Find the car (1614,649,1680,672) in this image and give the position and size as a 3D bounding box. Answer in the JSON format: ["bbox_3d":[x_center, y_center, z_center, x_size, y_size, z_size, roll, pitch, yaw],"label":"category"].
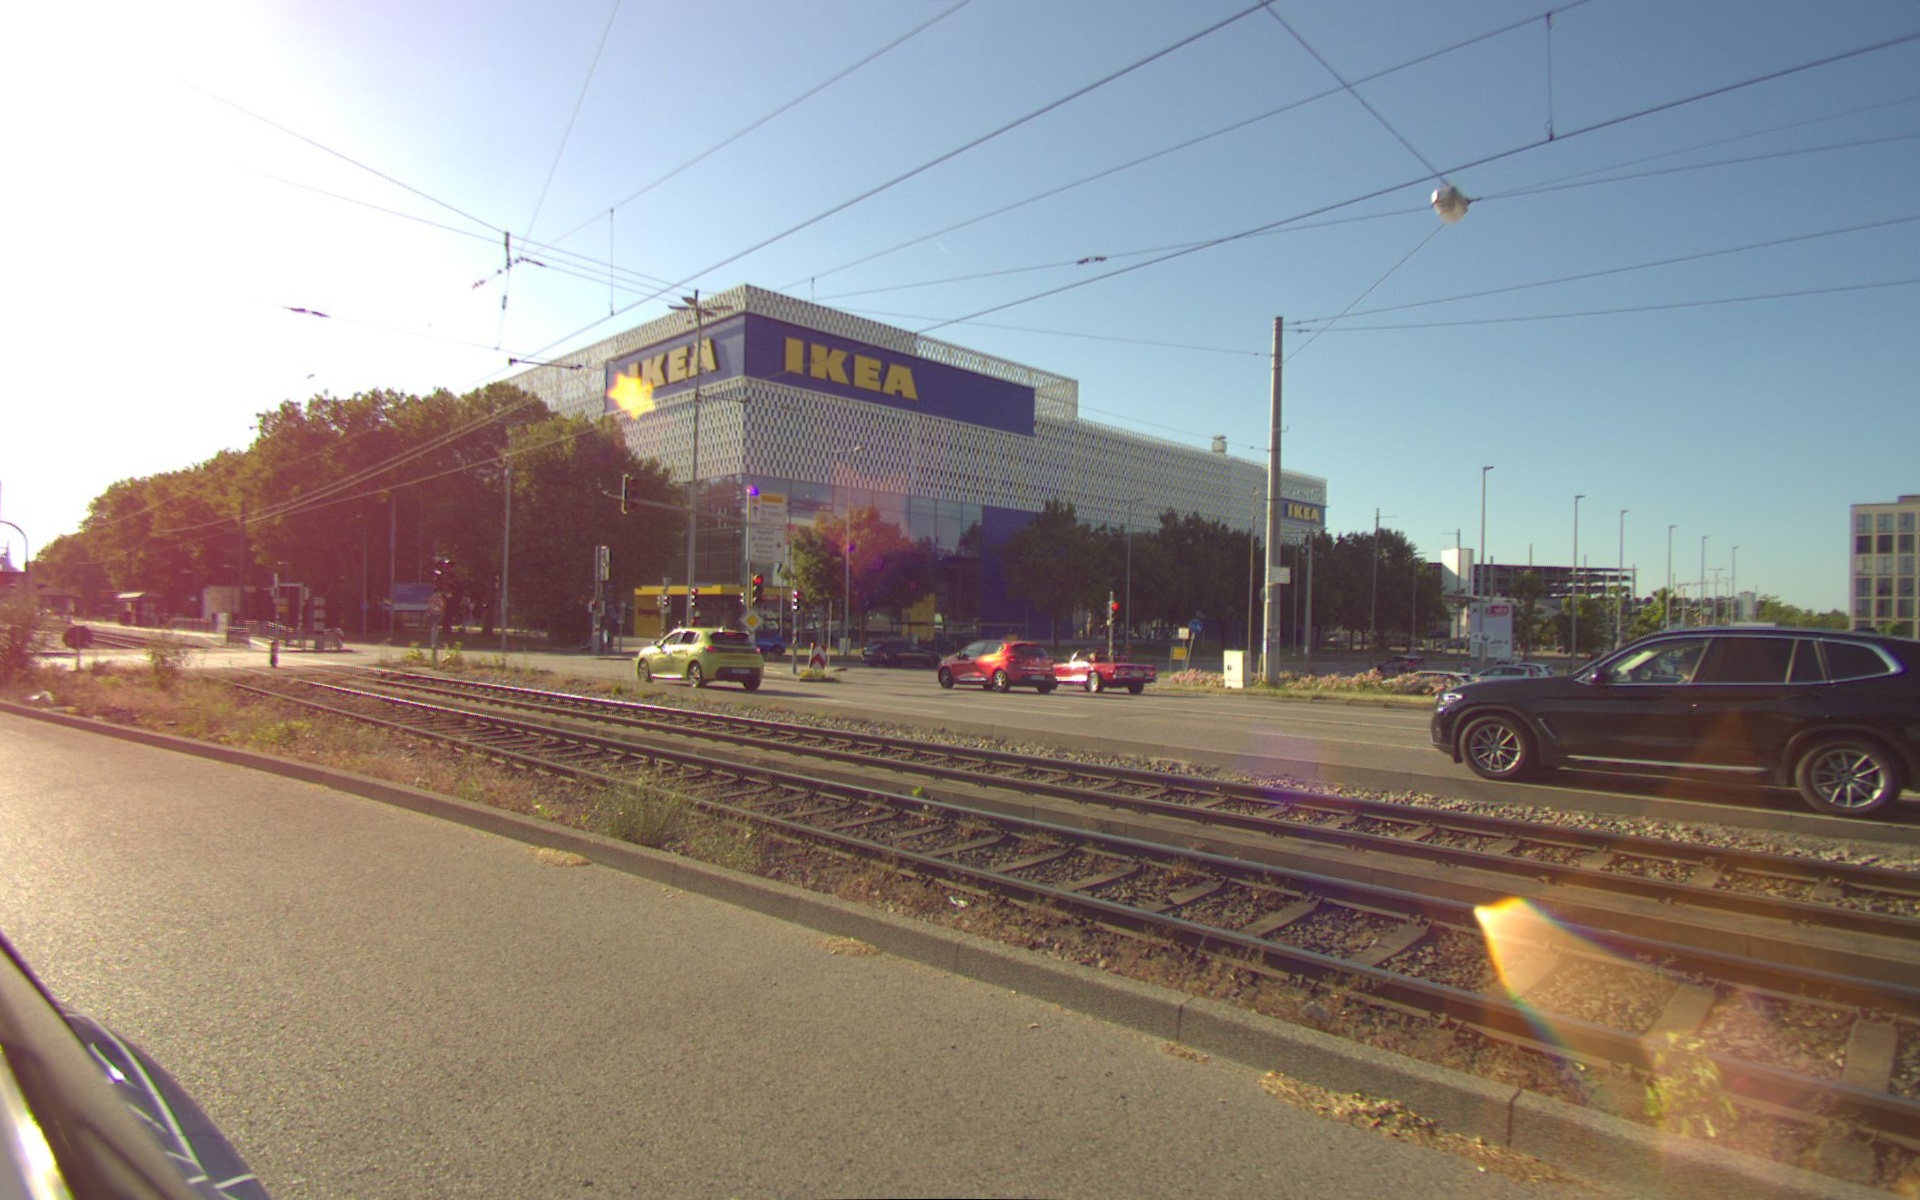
[{"bbox_3d":[53.937,4.705,79.477,1.775,1.668,4.002,2,-2,-45],"label":"car"}]

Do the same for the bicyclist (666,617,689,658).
[{"bbox_3d":[-10.964,1.448,39.306,0.581,1.534,0.752,1,-1,-45],"label":"bicyclist"}]

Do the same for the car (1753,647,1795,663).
[{"bbox_3d":[103.389,7.002,128.546,1.970,1.794,4.003,-2,1,-44],"label":"car"}]

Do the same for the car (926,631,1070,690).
[{"bbox_3d":[0.997,1.671,28.563,1.909,1.487,4.142,4,-3,-35],"label":"car"}]

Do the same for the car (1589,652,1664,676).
[{"bbox_3d":[48.755,4.655,74.110,4.436,1.563,1.650,-1,1,40],"label":"car"}]

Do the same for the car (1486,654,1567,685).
[{"bbox_3d":[34.401,4.192,61.503,3.998,1.605,1.909,-1,1,41],"label":"car"}]

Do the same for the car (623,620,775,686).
[{"bbox_3d":[-6.468,1.256,24.874,1.763,1.459,4.110,3,-3,-45],"label":"car"}]

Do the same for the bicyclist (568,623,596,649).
[{"bbox_3d":[-24.061,2.311,64.433,0.820,1.629,1.471,0,-2,31],"label":"bicyclist"}]

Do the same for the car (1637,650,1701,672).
[{"bbox_3d":[57.856,4.958,82.664,1.970,1.668,4.002,2,-2,-45],"label":"car"}]

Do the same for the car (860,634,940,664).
[{"bbox_3d":[-3.212,2.641,54.559,4.030,1.469,1.923,4,-3,-45],"label":"car"}]

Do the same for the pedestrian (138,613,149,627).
[{"bbox_3d":[-75.987,1.883,94.199,0.685,1.262,0.646,-1,0,42],"label":"pedestrian"}]

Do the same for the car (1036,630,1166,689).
[{"bbox_3d":[4.218,1.773,30.920,1.795,1.655,4.012,3,-3,-31],"label":"car"}]

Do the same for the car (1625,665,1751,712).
[{"bbox_3d":[31.087,3.720,43.293,1.840,1.736,4.008,2,-2,-38],"label":"car"}]

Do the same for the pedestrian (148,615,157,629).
[{"bbox_3d":[-71.996,1.922,90.245,0.594,1.233,0.618,-1,0,-41],"label":"pedestrian"}]

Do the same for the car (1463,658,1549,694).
[{"bbox_3d":[31.116,4.307,57.707,3.998,1.758,1.909,-1,1,41],"label":"car"}]

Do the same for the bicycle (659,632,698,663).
[{"bbox_3d":[-10.938,1.830,39.274,0.581,1.176,1.993,1,-1,-44],"label":"bicycle"}]

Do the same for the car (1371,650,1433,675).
[{"bbox_3d":[33.826,4.788,77.622,1.876,1.580,4.262,-2,0,-21],"label":"car"}]

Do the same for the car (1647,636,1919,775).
[{"bbox_3d":[10.751,1.189,11.950,4.137,1.472,1.836,-1,-2,43],"label":"car"}]

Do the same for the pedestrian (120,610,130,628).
[{"bbox_3d":[-78.452,1.761,95.113,0.652,1.645,0.777,-1,0,-44],"label":"pedestrian"}]

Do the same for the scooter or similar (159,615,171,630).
[{"bbox_3d":[-68.228,1.949,86.818,1.373,1.244,0.656,-1,-1,45],"label":"scooter or similar"}]

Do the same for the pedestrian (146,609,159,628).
[{"bbox_3d":[-73.139,1.698,91.641,0.685,1.704,0.725,-1,0,35],"label":"pedestrian"}]

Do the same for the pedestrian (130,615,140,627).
[{"bbox_3d":[-81.002,2.019,99.387,0.624,1.171,0.670,-1,-1,43],"label":"pedestrian"}]

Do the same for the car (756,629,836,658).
[{"bbox_3d":[-9.715,2.609,60.078,4.191,1.509,2.019,5,-3,-40],"label":"car"}]

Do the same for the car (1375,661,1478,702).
[{"bbox_3d":[23.797,4.124,51.696,4.414,1.723,1.973,-1,1,40],"label":"car"}]

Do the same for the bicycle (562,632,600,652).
[{"bbox_3d":[-24.097,2.655,64.373,0.712,1.227,2.255,0,-2,31],"label":"bicycle"}]

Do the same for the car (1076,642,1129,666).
[{"bbox_3d":[9.518,3.613,67.654,1.771,1.471,3.534,1,-3,43],"label":"car"}]

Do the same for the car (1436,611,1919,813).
[{"bbox_3d":[7.558,0.982,10.158,1.970,1.668,4.661,3,-3,-44],"label":"car"}]

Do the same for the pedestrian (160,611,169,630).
[{"bbox_3d":[-69.752,1.806,88.756,0.594,1.632,0.691,-1,0,-41],"label":"pedestrian"}]

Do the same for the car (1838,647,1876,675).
[{"bbox_3d":[68.843,4.644,77.647,4.166,1.813,1.828,-2,1,-43],"label":"car"}]

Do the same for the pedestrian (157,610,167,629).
[{"bbox_3d":[-70.766,1.743,89.771,0.643,1.632,0.636,-1,0,-41],"label":"pedestrian"}]
